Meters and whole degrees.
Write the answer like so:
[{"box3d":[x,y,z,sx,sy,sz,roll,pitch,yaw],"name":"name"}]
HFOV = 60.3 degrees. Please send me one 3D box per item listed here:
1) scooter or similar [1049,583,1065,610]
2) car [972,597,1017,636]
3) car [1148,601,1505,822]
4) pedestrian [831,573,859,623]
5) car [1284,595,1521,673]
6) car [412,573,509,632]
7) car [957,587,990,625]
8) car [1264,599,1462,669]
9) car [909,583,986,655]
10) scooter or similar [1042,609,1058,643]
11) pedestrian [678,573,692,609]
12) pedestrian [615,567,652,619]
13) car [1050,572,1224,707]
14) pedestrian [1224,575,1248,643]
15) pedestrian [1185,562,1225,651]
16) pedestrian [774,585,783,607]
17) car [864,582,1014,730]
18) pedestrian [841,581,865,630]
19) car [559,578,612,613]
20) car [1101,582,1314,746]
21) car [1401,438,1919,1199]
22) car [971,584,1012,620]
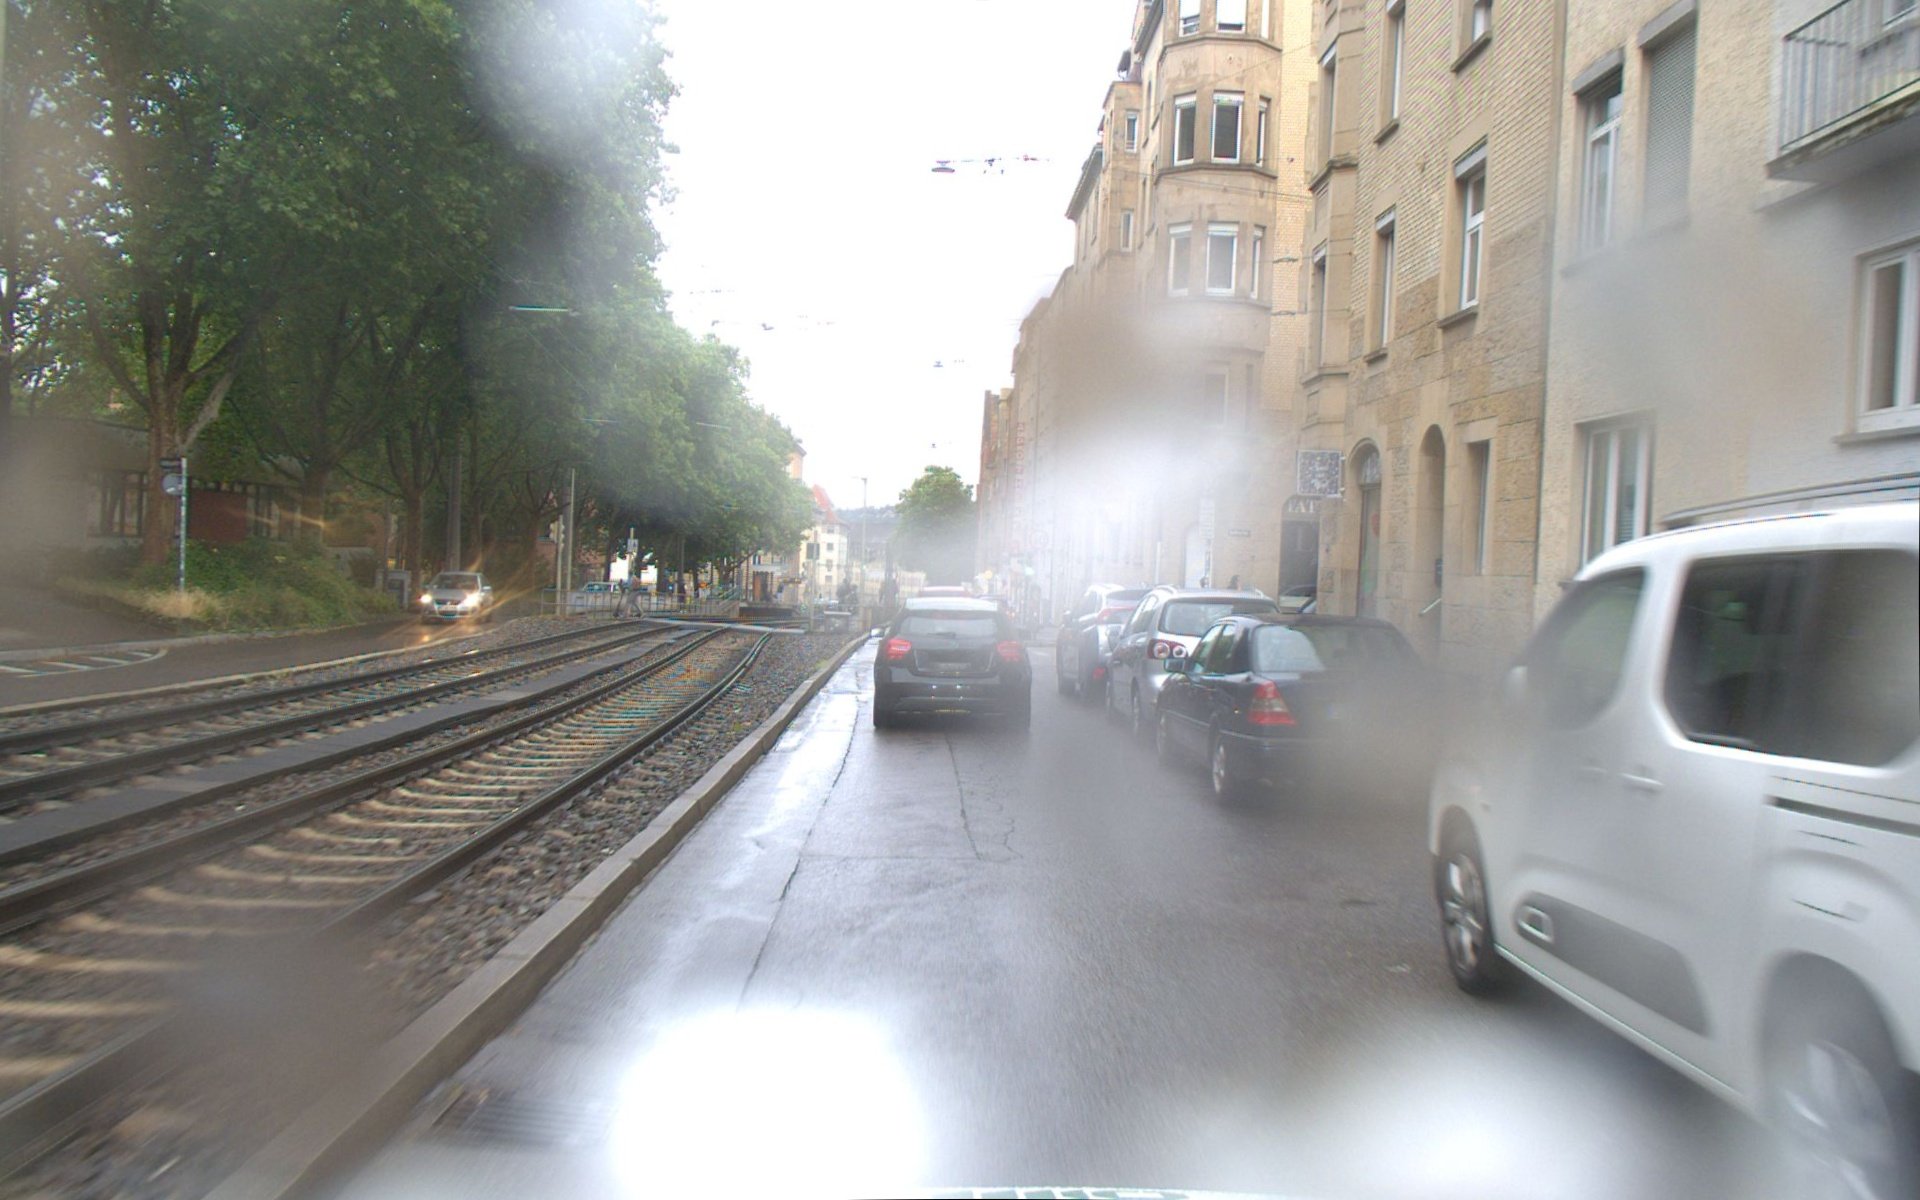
[{"box3d":[4.876,-0.165,83.159,0.440,1.344,1.774,0,1,-8],"name":"scooter or similar"},{"box3d":[1.487,0.701,72.512,1.790,1.646,3.863,0,1,-1],"name":"car"},{"box3d":[2.679,0.741,13.161,1.683,1.370,4.460,2,0,-2],"name":"car"},{"box3d":[-4.699,-0.086,67.402,1.115,2.033,1.171,0,0,-5],"name":"pedestrian"},{"box3d":[8.915,0.663,33.602,4.358,1.510,1.864,0,1,2],"name":"car"},{"box3d":[-14.008,0.053,46.619,1.782,1.531,4.627,2,0,-7],"name":"car"},{"box3d":[0.749,0.323,92.555,1.724,2.049,3.999,0,1,-1],"name":"car"},{"box3d":[9.491,0.786,39.196,4.247,1.558,1.892,0,0,0],"name":"car"},{"box3d":[-0.326,0.429,40.025,1.749,1.608,3.999,1,0,-1],"name":"car"},{"box3d":[3.731,1.074,68.880,0.439,1.344,1.776,0,1,-4],"name":"scooter or similar"},{"box3d":[-13.971,-0.448,84.025,0.523,1.784,0.607,3,0,-1],"name":"pedestrian"},{"box3d":[-11.407,-0.239,57.829,1.033,1.748,0.904,2,0,0],"name":"pedestrian"},{"box3d":[2.428,0.505,23.749,1.731,1.697,4.329,2,0,-4],"name":"car"},{"box3d":[7.099,0.229,42.562,0.536,1.717,0.626,1,0,3],"name":"pedestrian"},{"box3d":[5.080,0.139,34.312,0.680,1.818,0.758,-1,0,-2],"name":"pedestrian"},{"box3d":[-14.447,-0.305,131.626,0.508,1.747,0.551,3,0,-1],"name":"pedestrian"},{"box3d":[-0.274,0.577,19.207,1.548,1.531,3.573,1,0,-2],"name":"car"},{"box3d":[-3.688,0.178,57.172,0.789,1.662,0.892,0,0,-1],"name":"pedestrian"},{"box3d":[-17.126,-0.202,75.772,1.625,1.523,3.784,1,1,-2],"name":"car"},{"box3d":[2.597,0.619,18.200,1.659,1.556,3.999,2,0,-1],"name":"car"},{"box3d":[2.869,0.561,5.148,1.791,1.781,4.467,1,0,0],"name":"car"},{"box3d":[1.443,0.072,77.343,1.724,1.606,3.999,0,1,-1],"name":"car"}]
